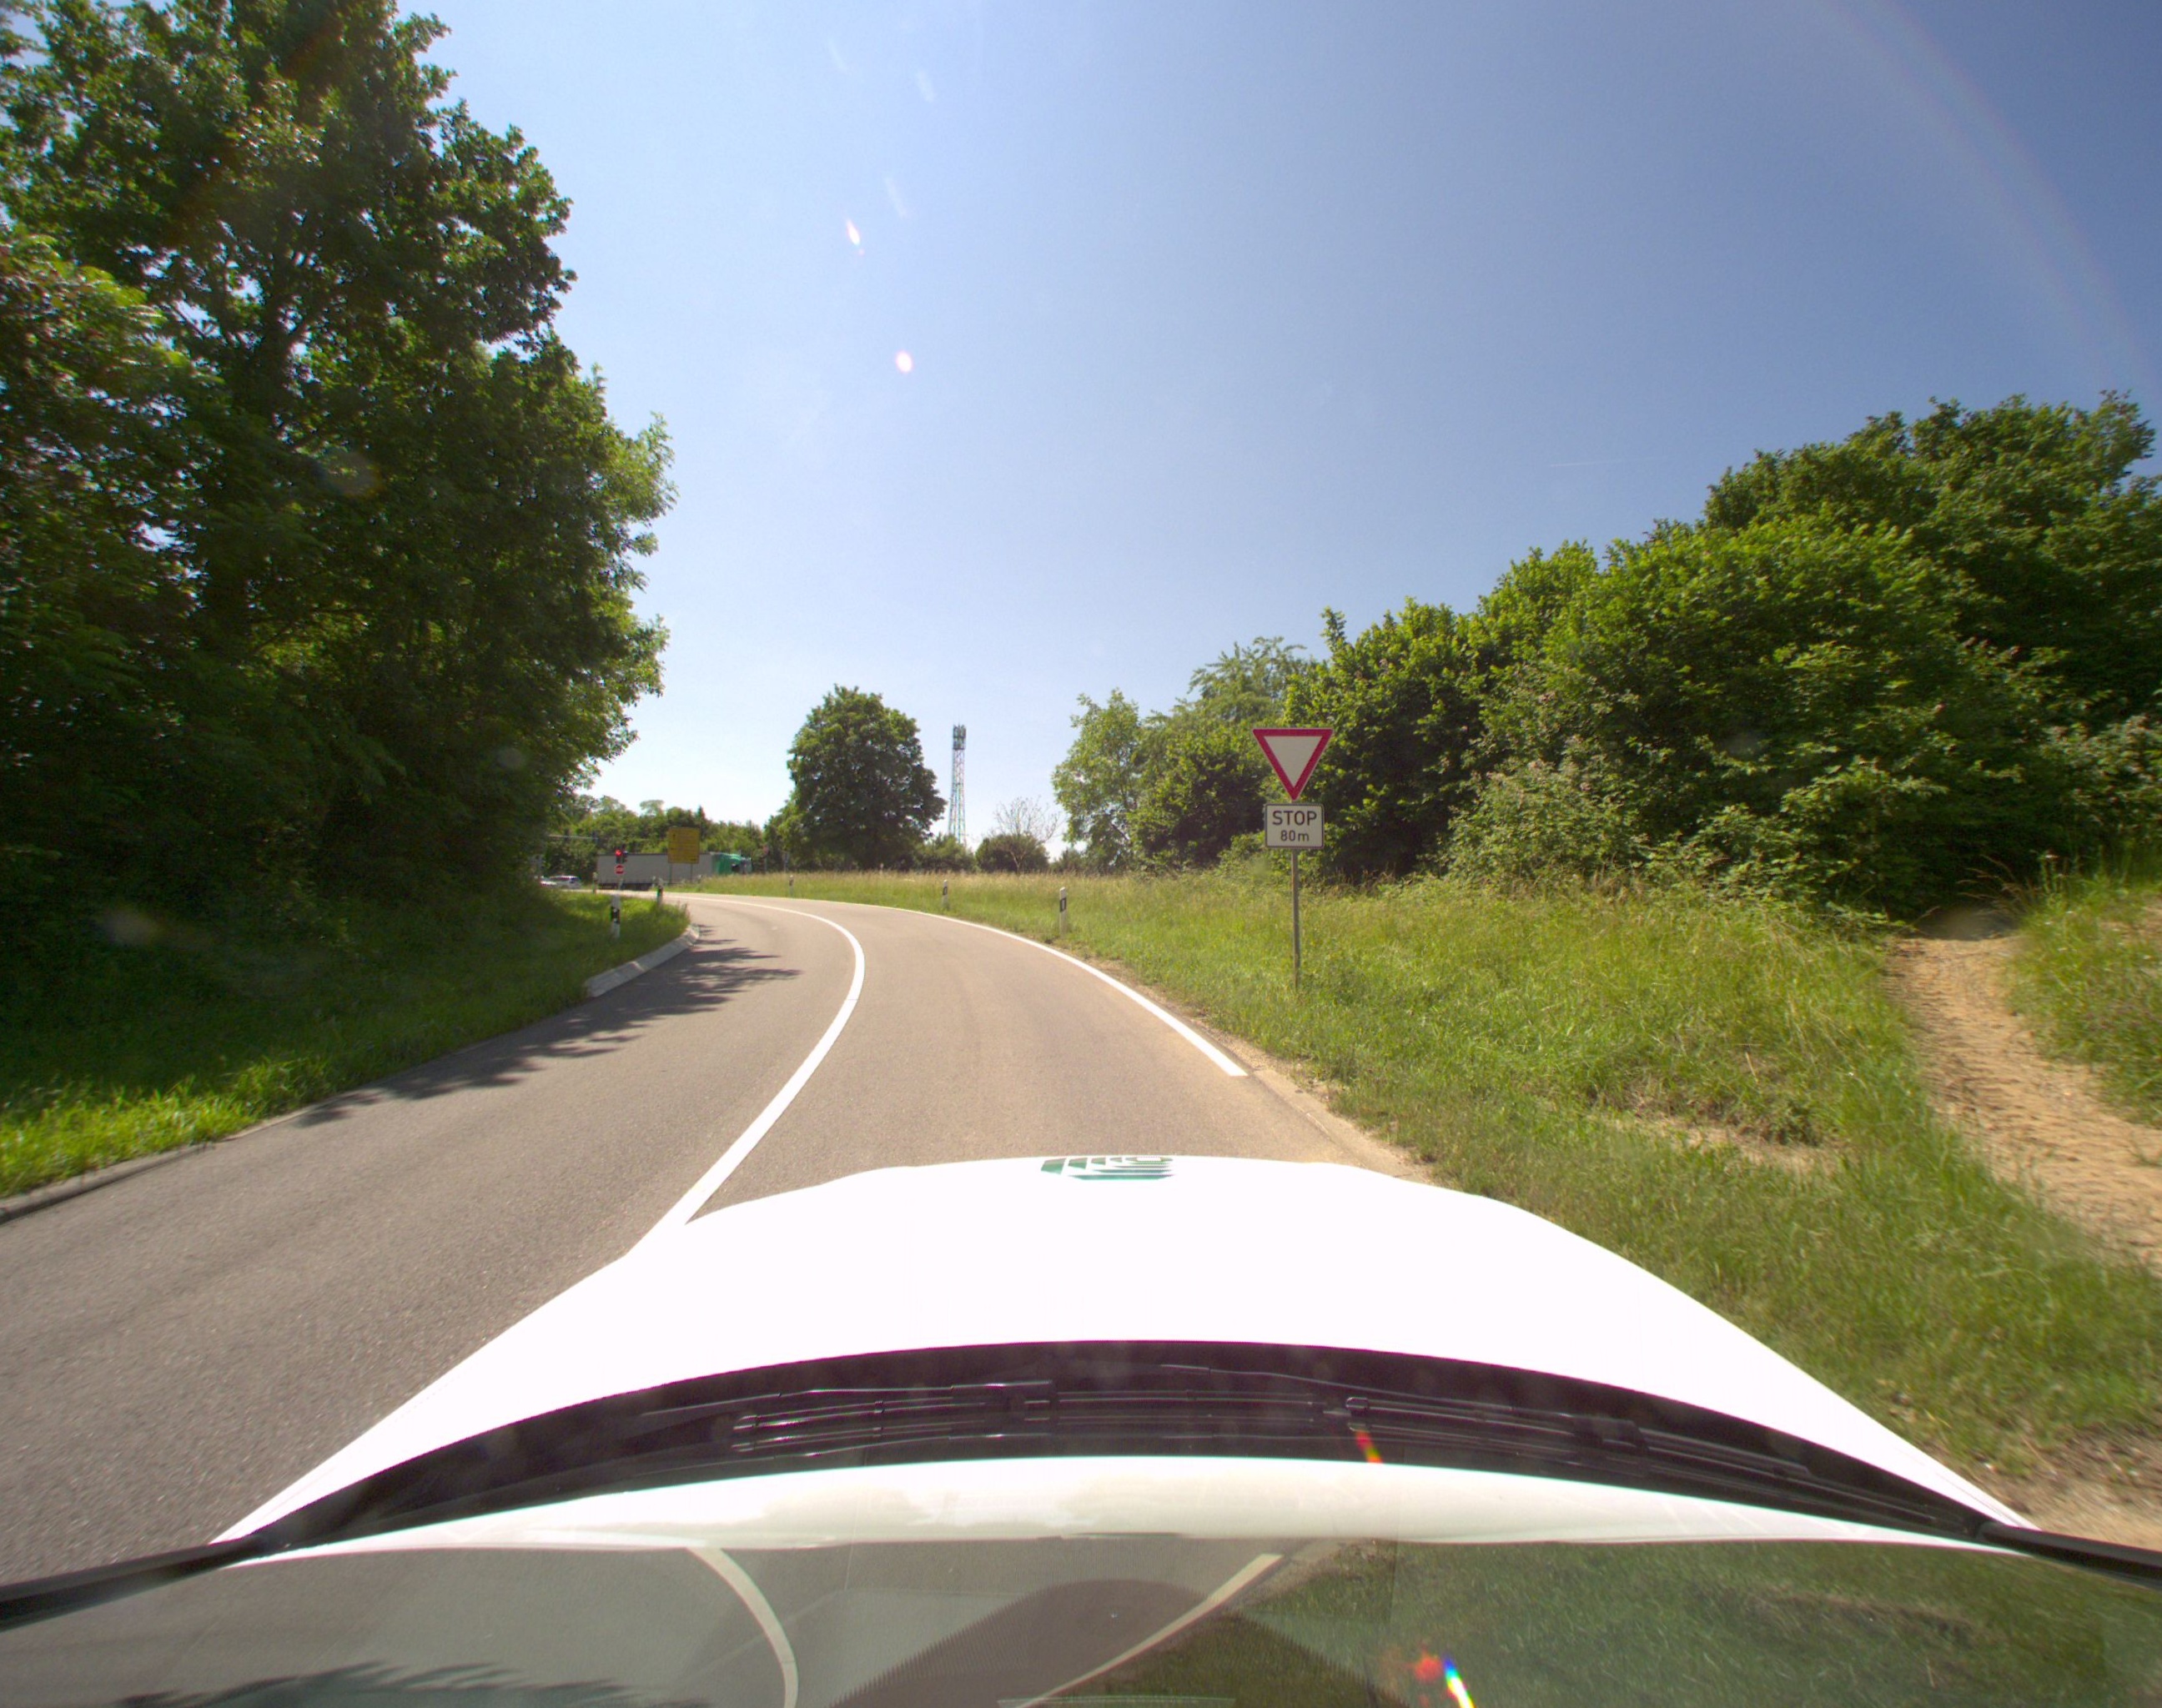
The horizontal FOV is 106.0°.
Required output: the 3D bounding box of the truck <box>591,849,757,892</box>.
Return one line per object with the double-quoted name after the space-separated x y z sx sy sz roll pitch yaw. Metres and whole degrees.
-42.122 1.773 84.365 16.531 4.174 3.143 -1 -3 9 "truck"
